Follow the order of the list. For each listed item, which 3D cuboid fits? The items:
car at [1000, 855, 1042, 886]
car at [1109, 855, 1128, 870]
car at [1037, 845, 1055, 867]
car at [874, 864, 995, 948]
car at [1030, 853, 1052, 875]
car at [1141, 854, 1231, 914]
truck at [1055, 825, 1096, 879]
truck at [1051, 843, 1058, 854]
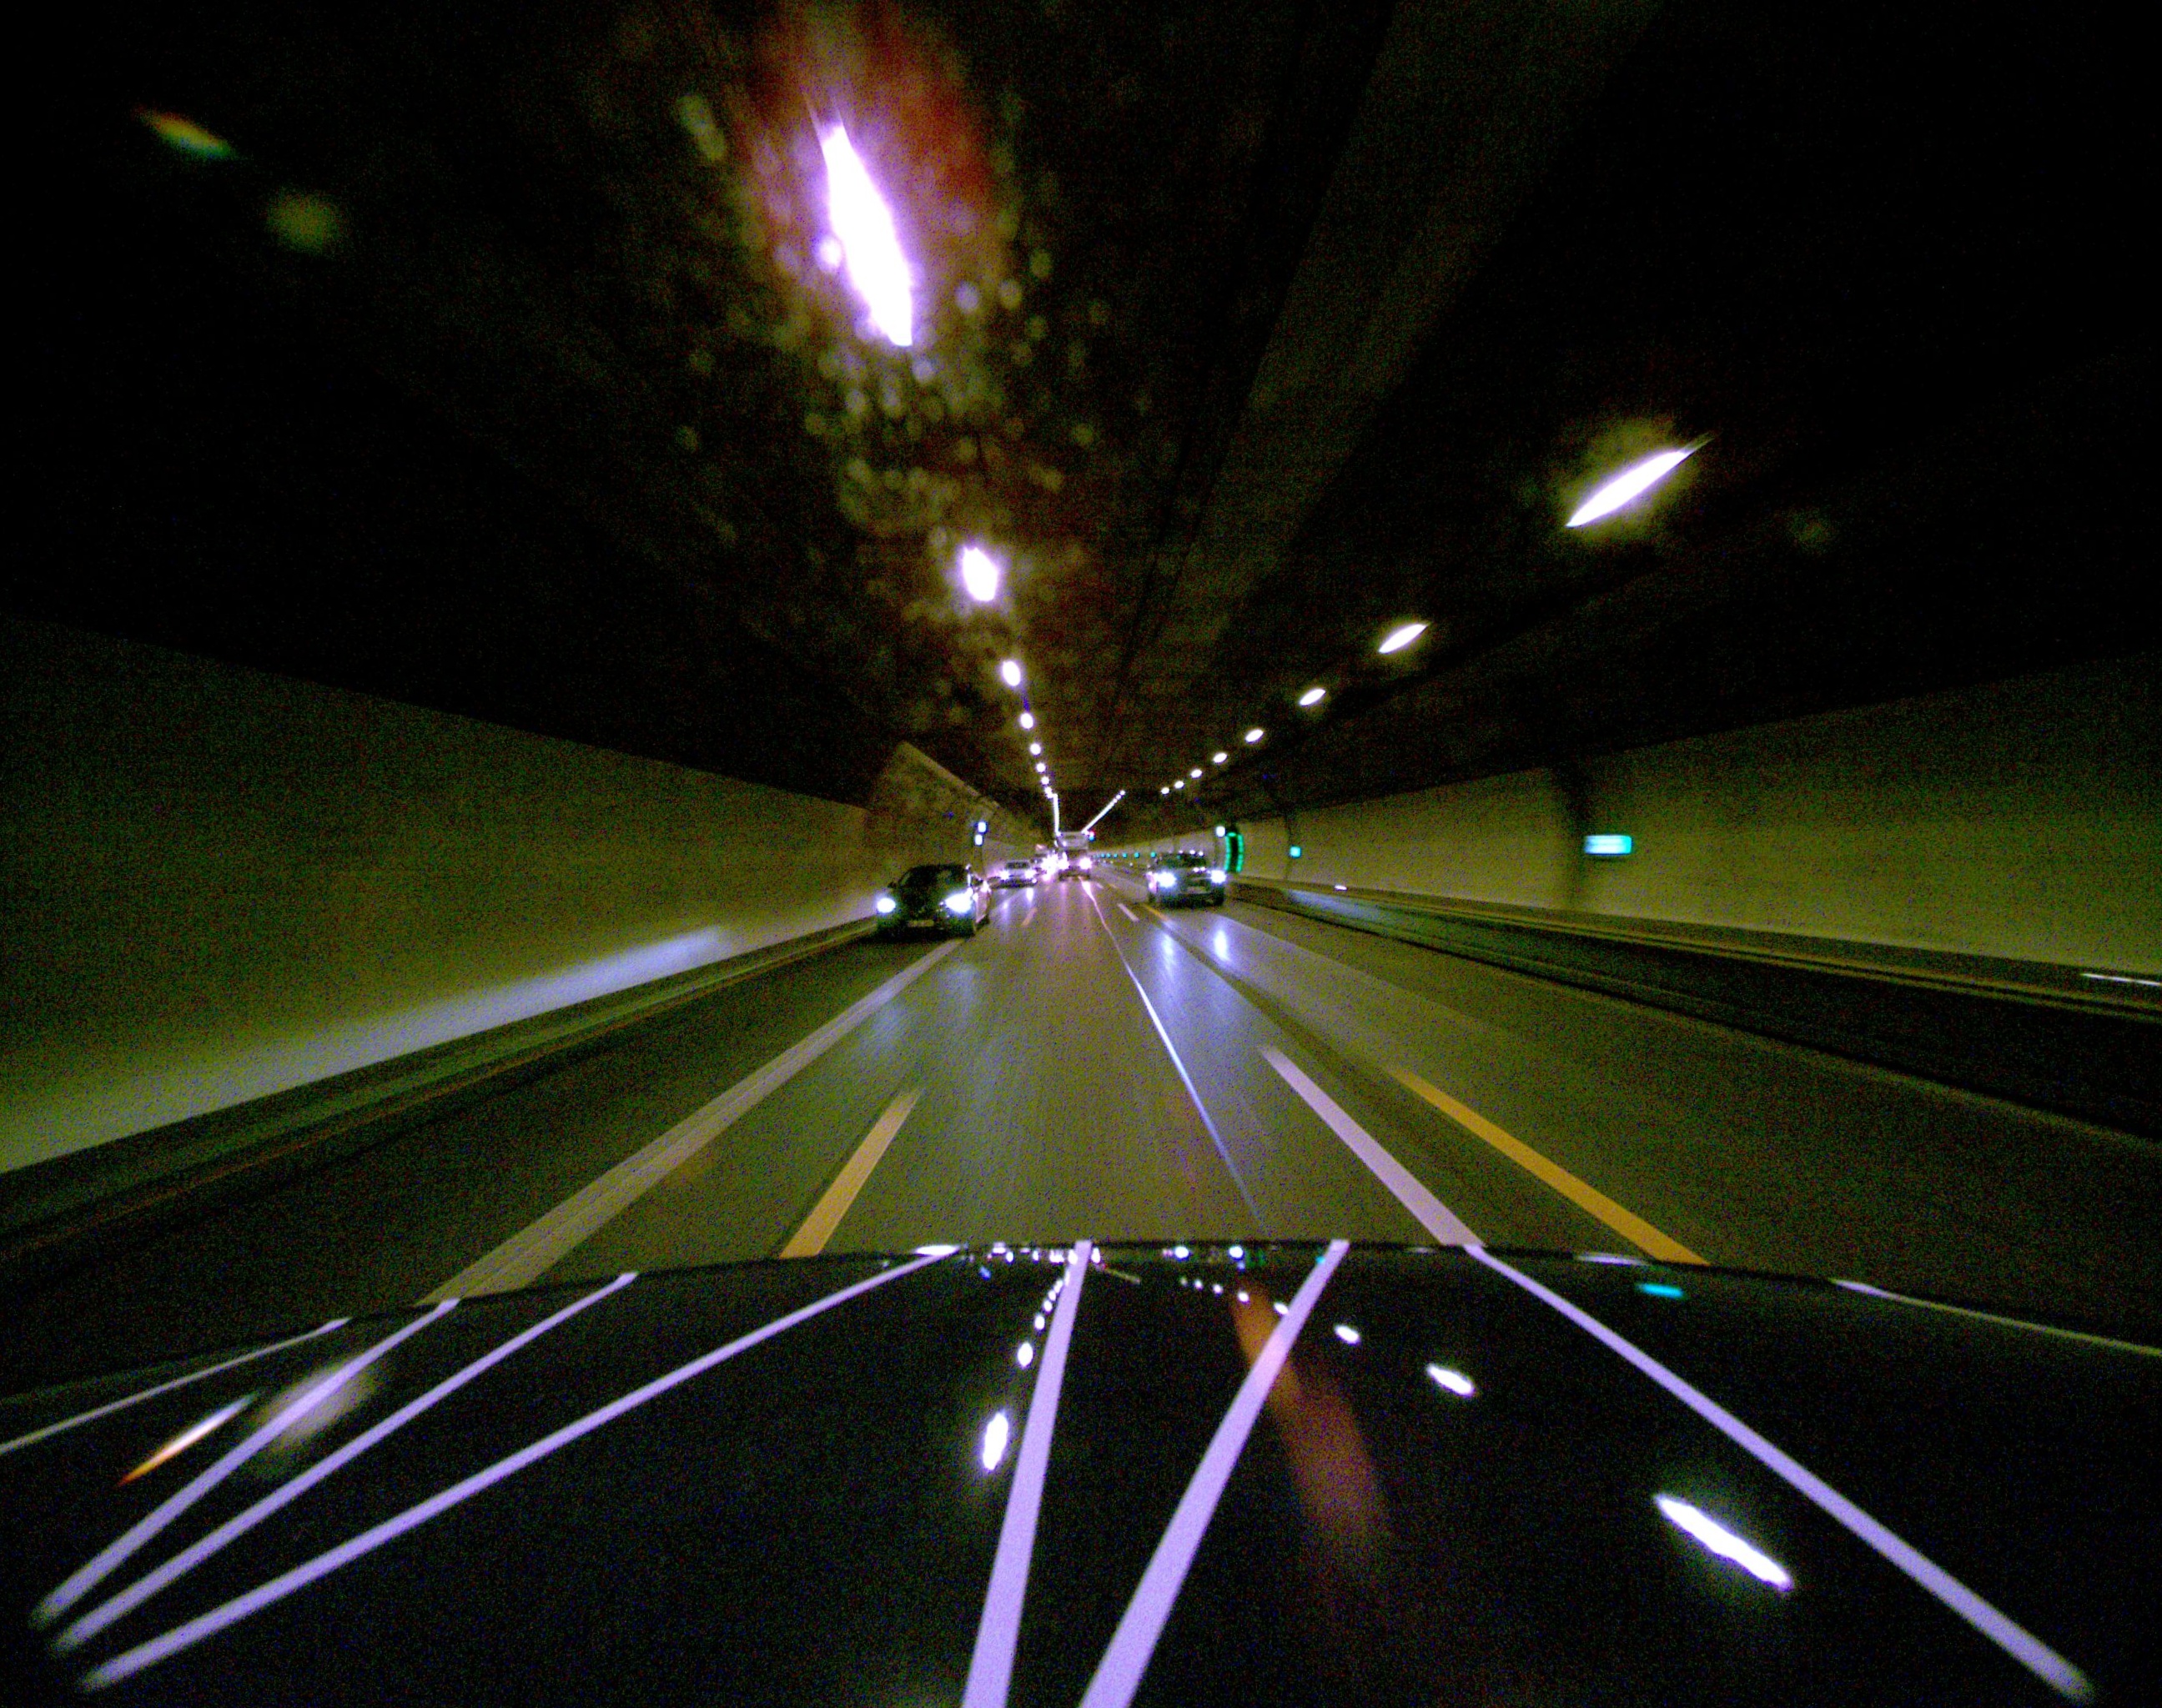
[{"bbox_3d":[-3.276,0.897,42.358,1.999,1.531,4.741,-2,1,-2],"label":"car"},{"bbox_3d":[4.253,0.974,86.280,1.998,1.531,4.851,-2,1,2],"label":"car"},{"bbox_3d":[-4.419,0.203,96.505,1.999,2.710,6.273,-2,1,-2],"label":"car"},{"bbox_3d":[-2.999,1.001,16.510,1.826,1.469,4.521,-2,0,-2],"label":"car"},{"bbox_3d":[-3.792,0.938,72.941,1.999,2.002,4.852,-1,0,-3],"label":"car"},{"bbox_3d":[3.038,0.813,22.972,1.999,1.531,4.741,-2,1,0],"label":"car"},{"bbox_3d":[-0.464,-0.133,51.921,2.534,3.314,7.714,-1,0,-2],"label":"truck"},{"bbox_3d":[-9.176,-1.832,262.760,2.208,3.449,11.764,-1,0,-1],"label":"truck"}]
